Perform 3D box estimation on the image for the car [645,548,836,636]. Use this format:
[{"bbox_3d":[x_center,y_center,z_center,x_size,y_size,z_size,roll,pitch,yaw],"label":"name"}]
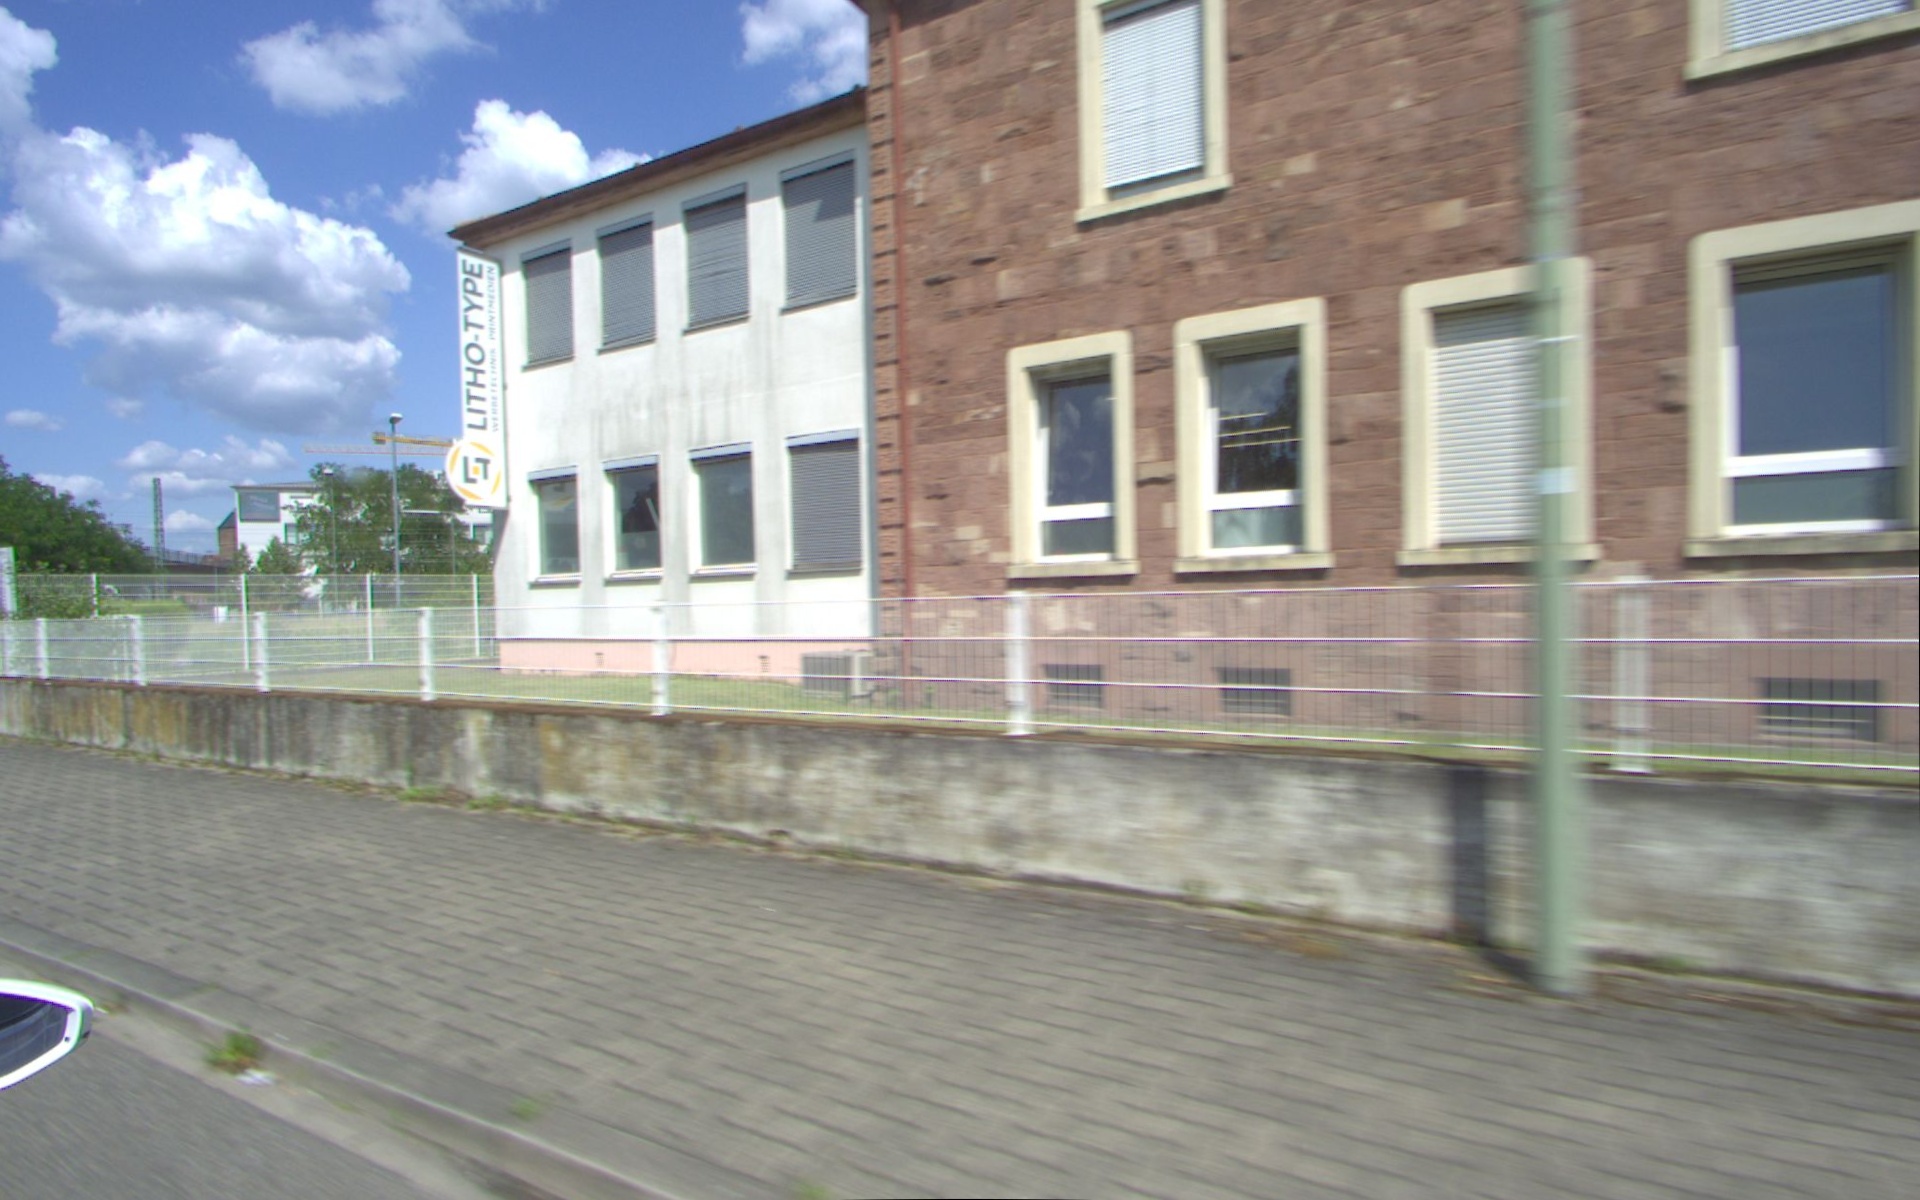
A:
[{"bbox_3d":[-5.039,-0.212,23.004,3.938,1.856,1.795,-2,1,-27],"label":"car"}]
